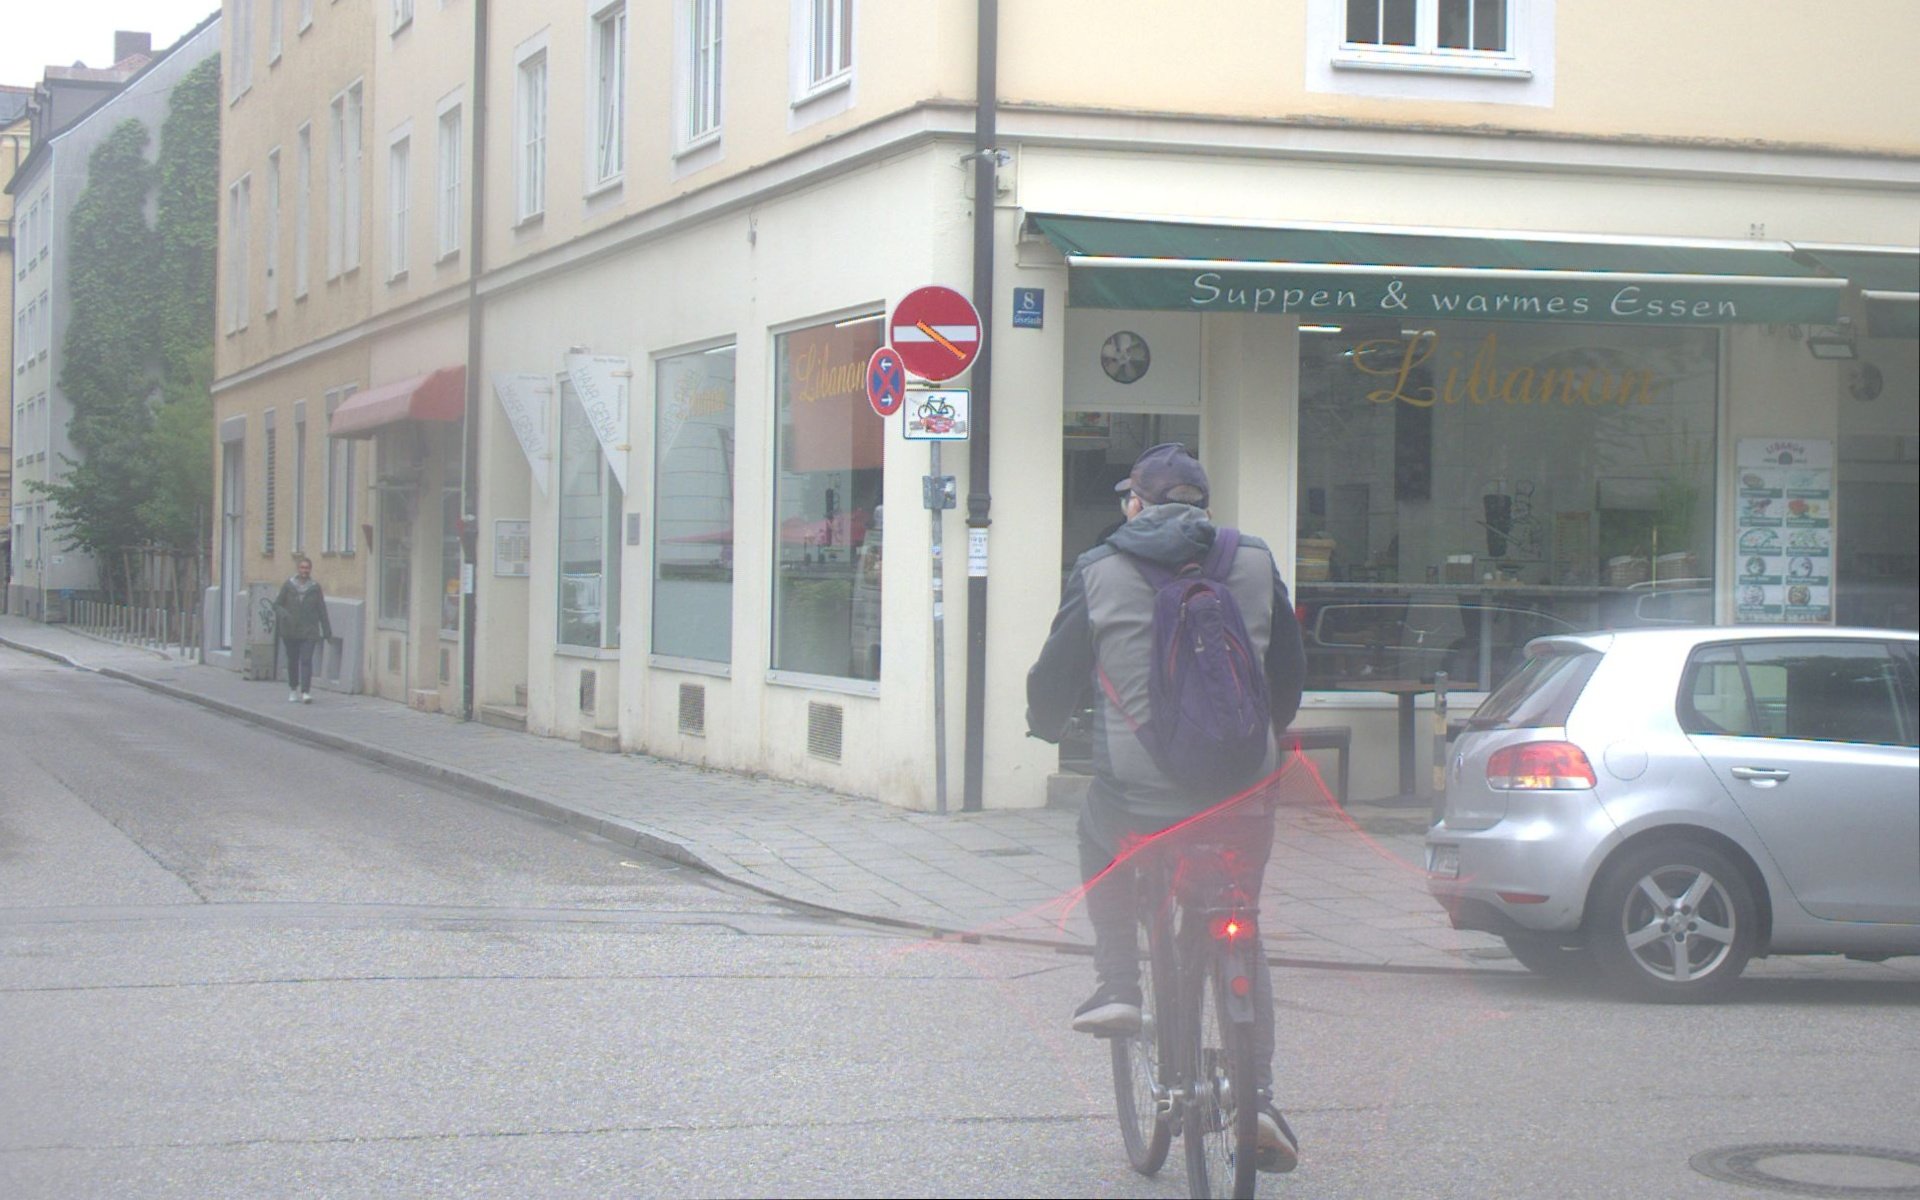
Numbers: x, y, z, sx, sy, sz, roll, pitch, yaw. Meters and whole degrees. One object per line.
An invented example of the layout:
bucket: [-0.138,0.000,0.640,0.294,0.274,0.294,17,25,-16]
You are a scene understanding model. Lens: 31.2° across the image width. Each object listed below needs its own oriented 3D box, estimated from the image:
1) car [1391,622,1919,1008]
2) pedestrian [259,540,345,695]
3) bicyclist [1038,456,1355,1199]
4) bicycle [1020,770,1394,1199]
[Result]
car: [3.892,0.875,13.829,3.986,1.411,1.821,1,-3,-4]
pedestrian: [-7.650,0.198,39.945,0.877,1.772,0.774,1,1,-17]
bicyclist: [0.510,0.490,7.686,0.606,1.601,0.757,1,1,-2]
bicycle: [0.506,0.930,7.638,0.639,1.001,1.574,1,1,-2]
